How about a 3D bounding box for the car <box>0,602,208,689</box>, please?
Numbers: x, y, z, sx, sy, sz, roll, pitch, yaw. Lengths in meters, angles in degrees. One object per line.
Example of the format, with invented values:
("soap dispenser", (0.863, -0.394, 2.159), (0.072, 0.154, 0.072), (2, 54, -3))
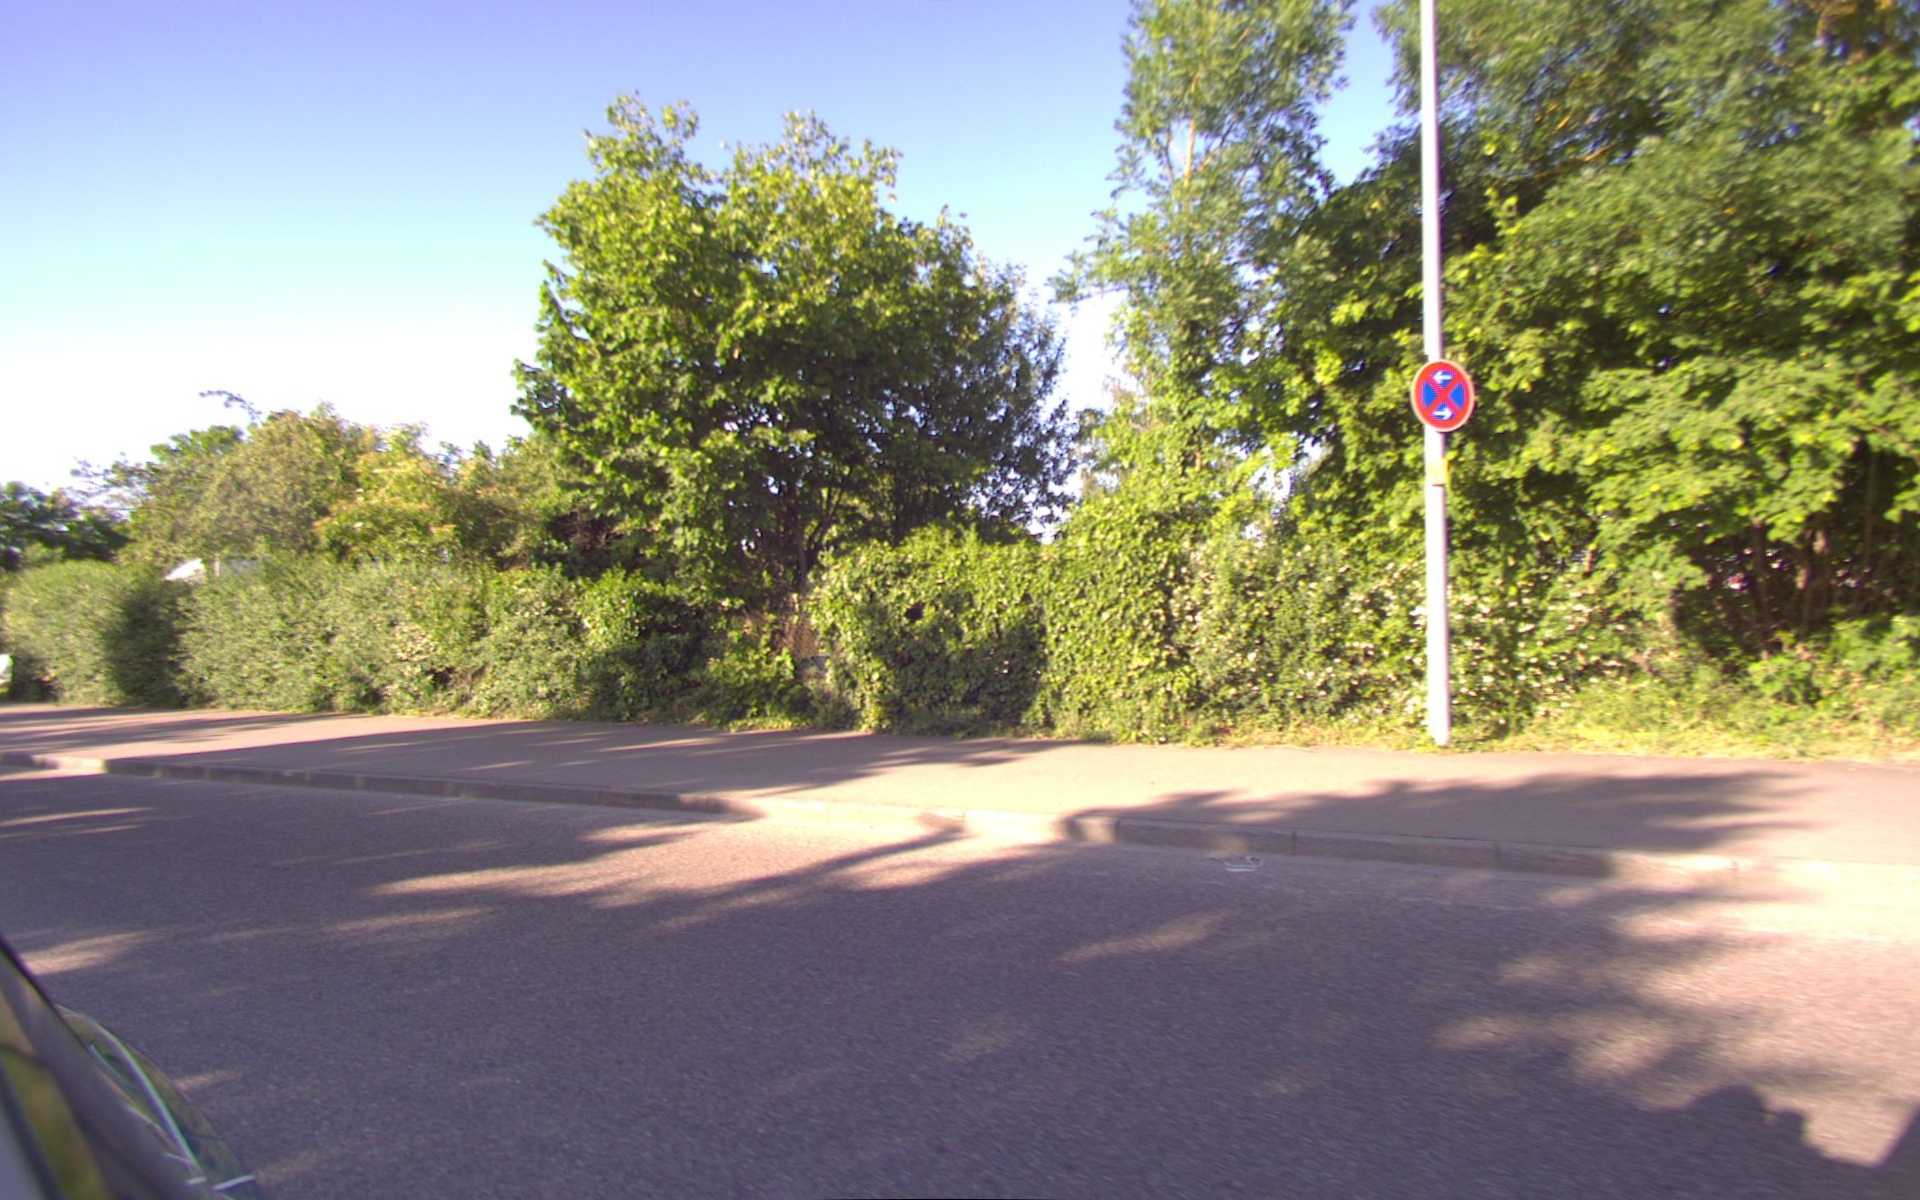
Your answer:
("car", (-19.681, 0.995, 23.115), (3.934, 1.796, 2.005), (-1, -1, -35))
